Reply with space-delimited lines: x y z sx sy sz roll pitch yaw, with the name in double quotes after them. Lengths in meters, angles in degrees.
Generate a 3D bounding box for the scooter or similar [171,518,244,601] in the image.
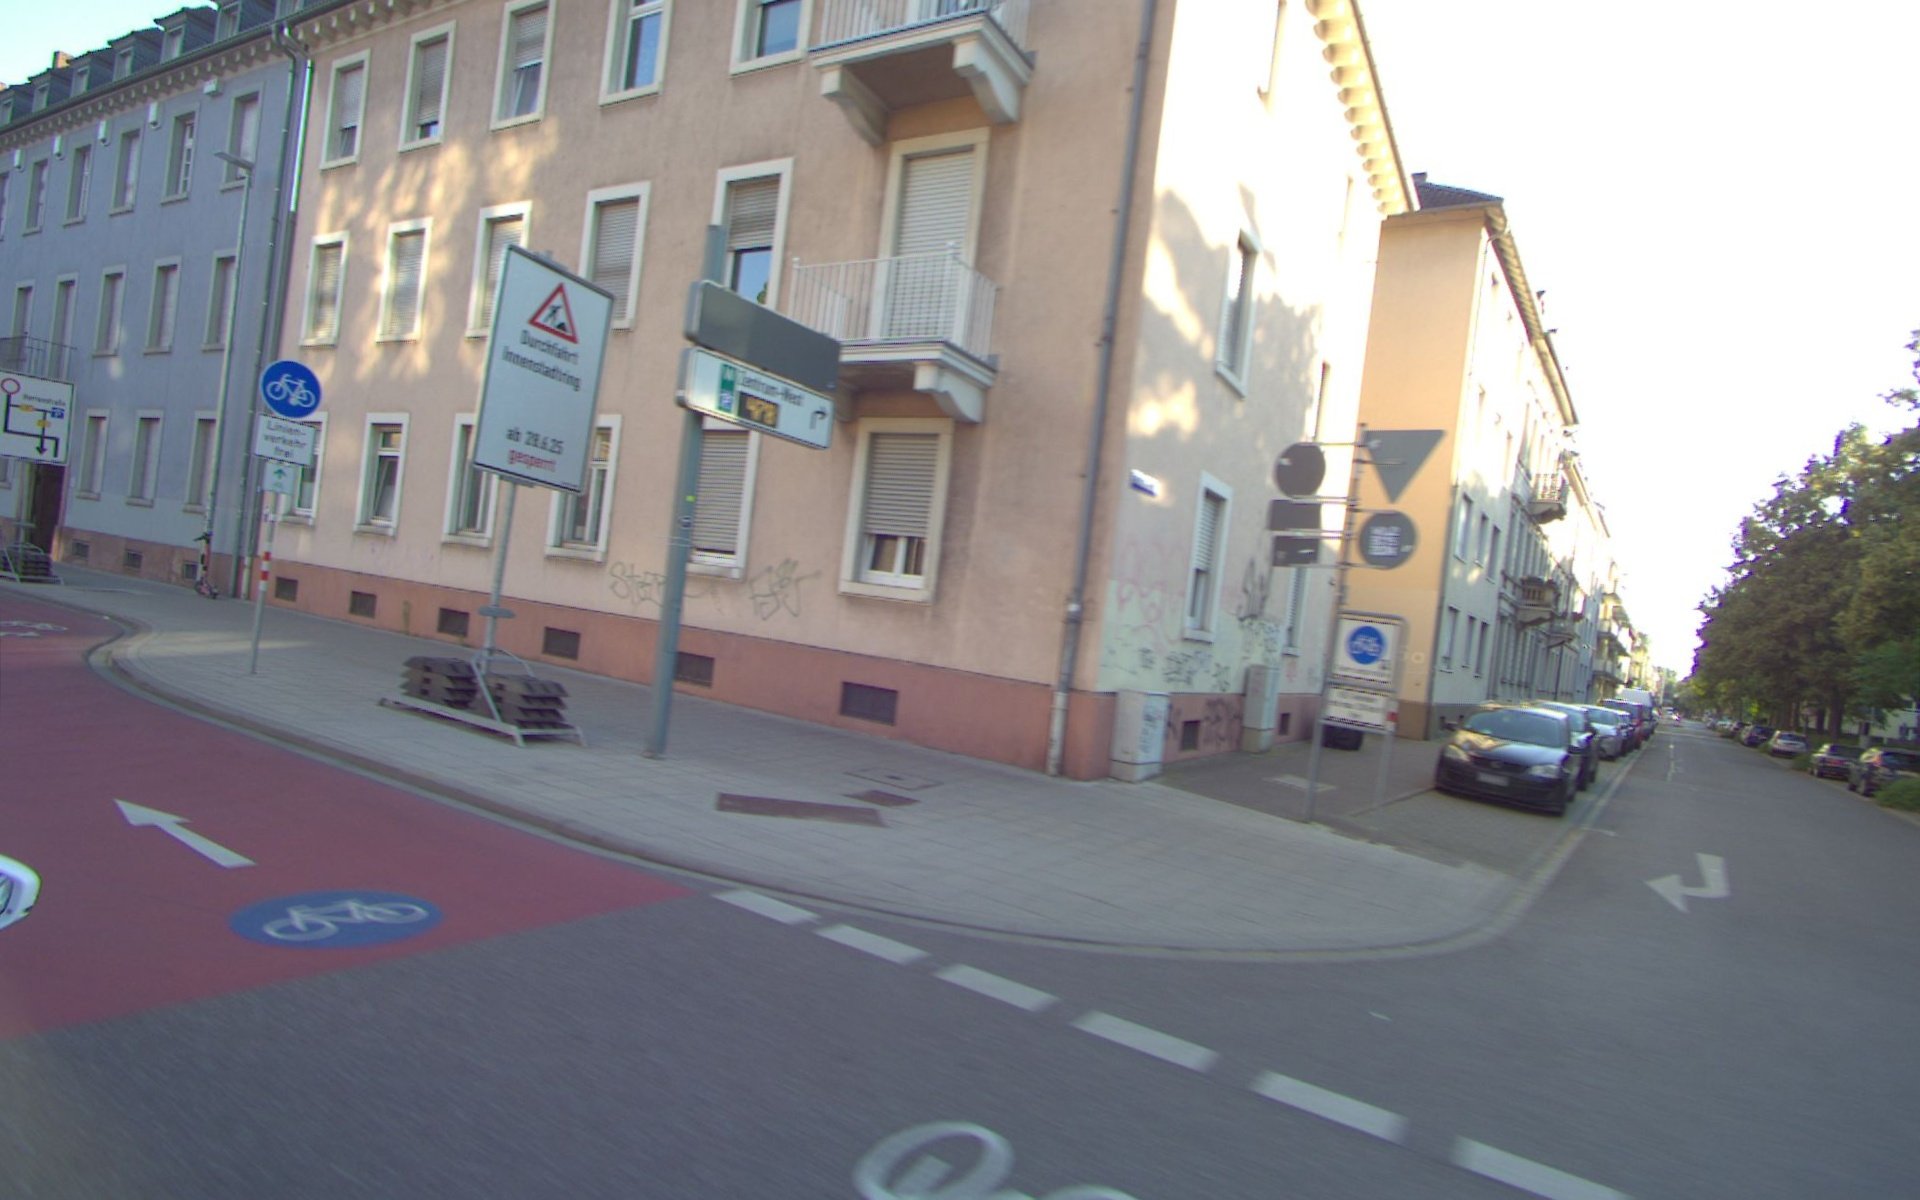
-14.864 -0.812 19.865 1.648 1.478 0.724 7 3 40 "scooter or similar"

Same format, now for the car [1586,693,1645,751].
27.992 5.189 43.051 1.808 2.064 3.992 9 0 33 "car"

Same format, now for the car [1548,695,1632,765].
18.833 3.842 30.133 1.807 1.643 3.993 9 0 32 "car"

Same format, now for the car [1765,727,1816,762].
46.486 8.072 56.378 1.733 1.555 3.710 6 -1 34 "car"

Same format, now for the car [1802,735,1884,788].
33.346 6.073 38.101 1.733 1.555 3.710 6 -1 34 "car"

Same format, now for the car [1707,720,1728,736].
91.675 15.507 121.764 1.732 1.555 3.710 7 -1 34 "car"

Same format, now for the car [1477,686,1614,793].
11.888 2.765 20.305 1.809 1.643 3.988 9 0 37 "car"

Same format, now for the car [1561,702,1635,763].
21.521 4.424 33.987 1.808 1.643 3.992 9 0 33 "car"

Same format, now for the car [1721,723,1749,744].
71.716 12.355 93.124 1.733 1.555 3.710 6 -1 34 "car"

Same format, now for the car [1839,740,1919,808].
27.229 5.065 29.401 1.733 1.555 3.710 6 -1 34 "car"

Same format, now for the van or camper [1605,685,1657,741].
38.312 6.427 57.518 1.979 2.782 5.192 9 0 32 "van or camper"

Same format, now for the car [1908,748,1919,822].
21.010 4.005 20.402 1.732 1.555 3.922 6 -1 32 "car"

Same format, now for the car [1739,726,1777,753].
58.260 10.143 73.455 1.733 1.555 3.710 6 -1 34 "car"

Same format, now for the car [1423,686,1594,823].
8.759 2.342 15.891 1.808 1.575 3.991 9 0 35 "car"
